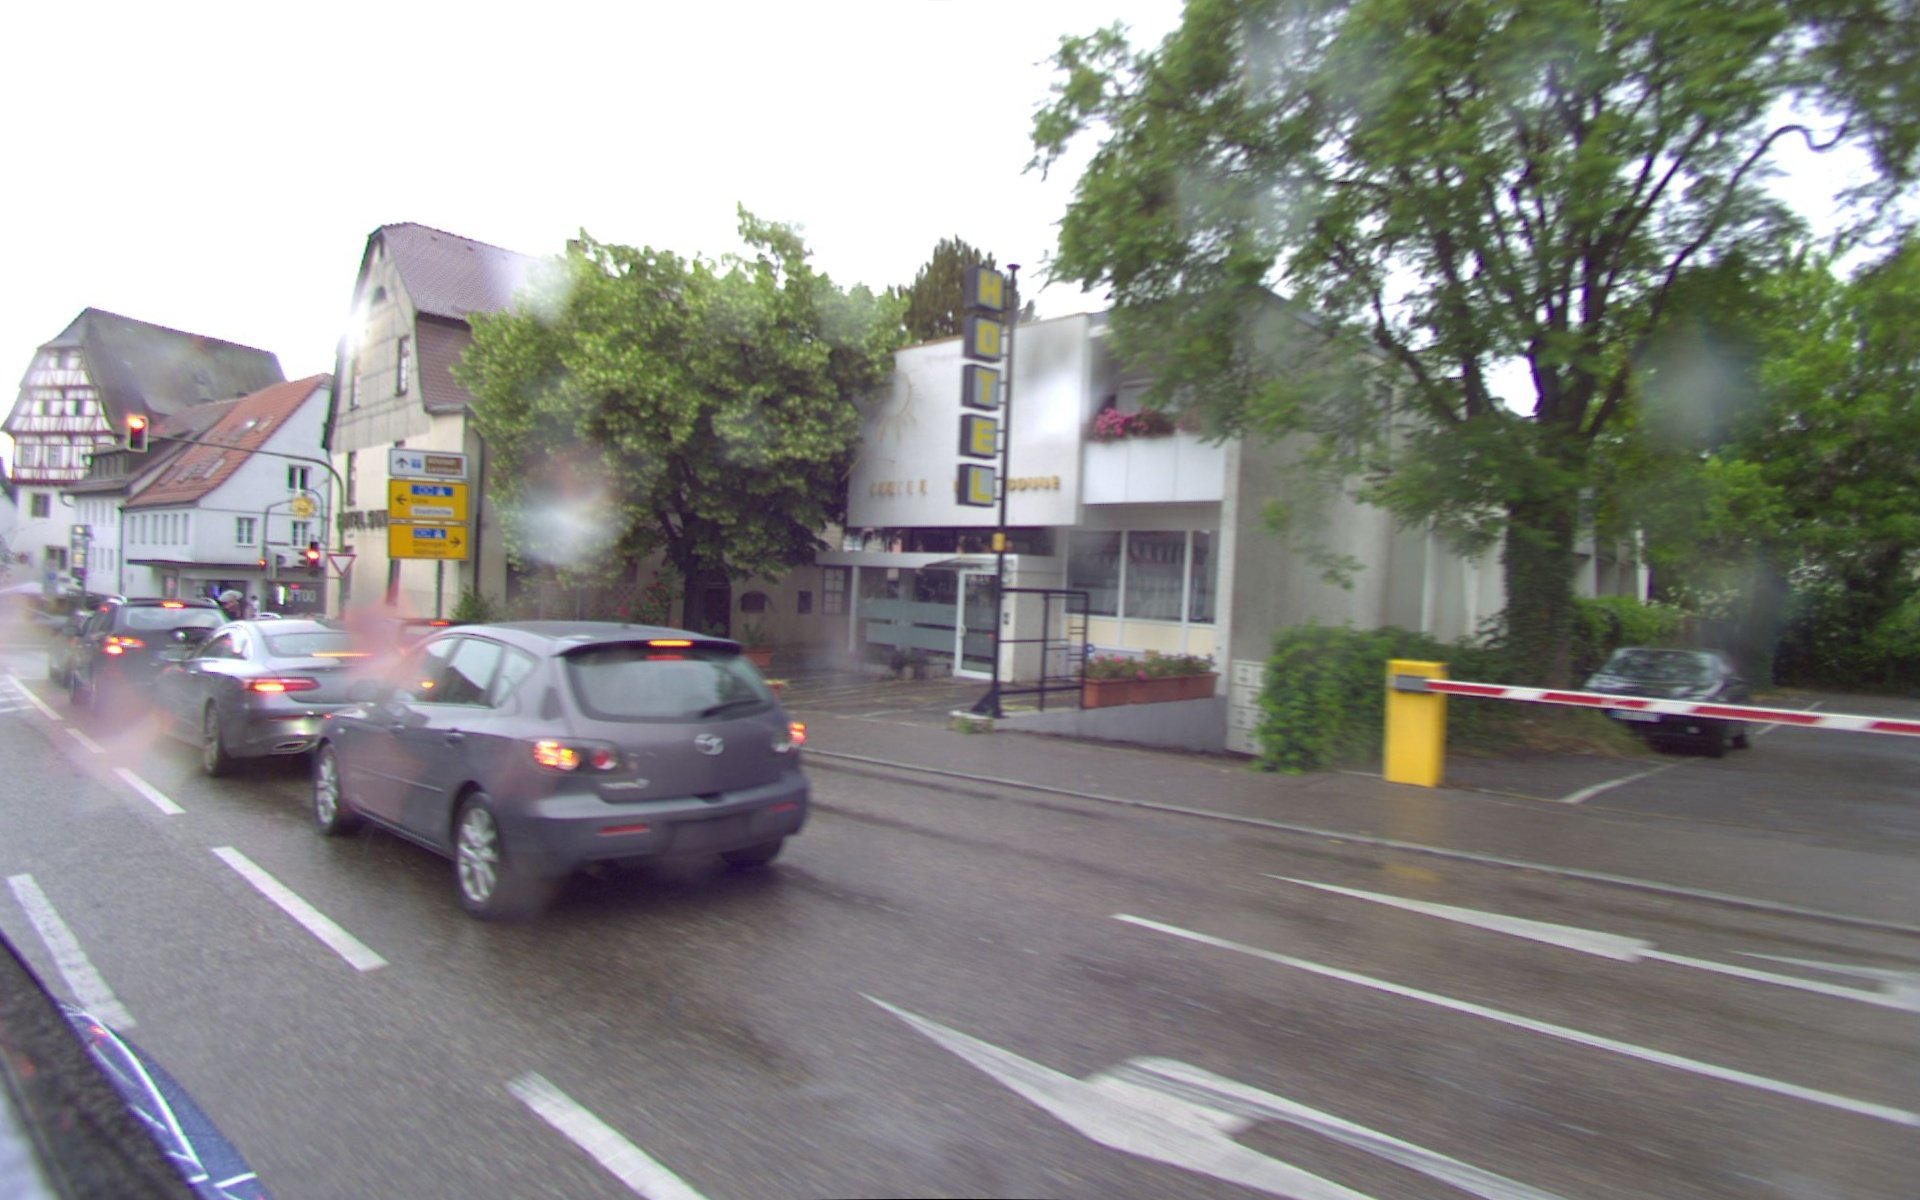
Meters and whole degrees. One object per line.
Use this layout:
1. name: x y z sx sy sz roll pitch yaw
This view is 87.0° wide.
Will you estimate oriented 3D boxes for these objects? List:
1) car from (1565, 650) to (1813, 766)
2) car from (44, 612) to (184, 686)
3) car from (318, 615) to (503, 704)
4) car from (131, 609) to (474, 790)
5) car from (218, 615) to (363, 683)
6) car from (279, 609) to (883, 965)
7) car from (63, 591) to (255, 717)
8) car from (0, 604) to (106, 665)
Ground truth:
1. car: 10.365 1.459 14.300 3.935 1.380 1.790 4 -3 -37
2. car: -17.333 0.933 20.682 3.748 1.374 1.793 0 -1 44
3. car: -9.762 0.958 17.854 4.061 1.364 1.718 0 -1 44
4. car: -7.052 0.831 10.585 5.017 1.451 1.919 0 -1 44
5. car: -14.482 0.996 21.808 4.034 1.303 1.827 -1 -1 45
6. car: -2.703 0.791 6.428 4.691 1.450 1.779 0 -1 44
7. car: -12.379 0.738 15.539 4.221 1.676 1.827 -1 -1 45
8. car: -30.154 1.073 31.785 4.958 1.859 2.001 1 -1 -45
